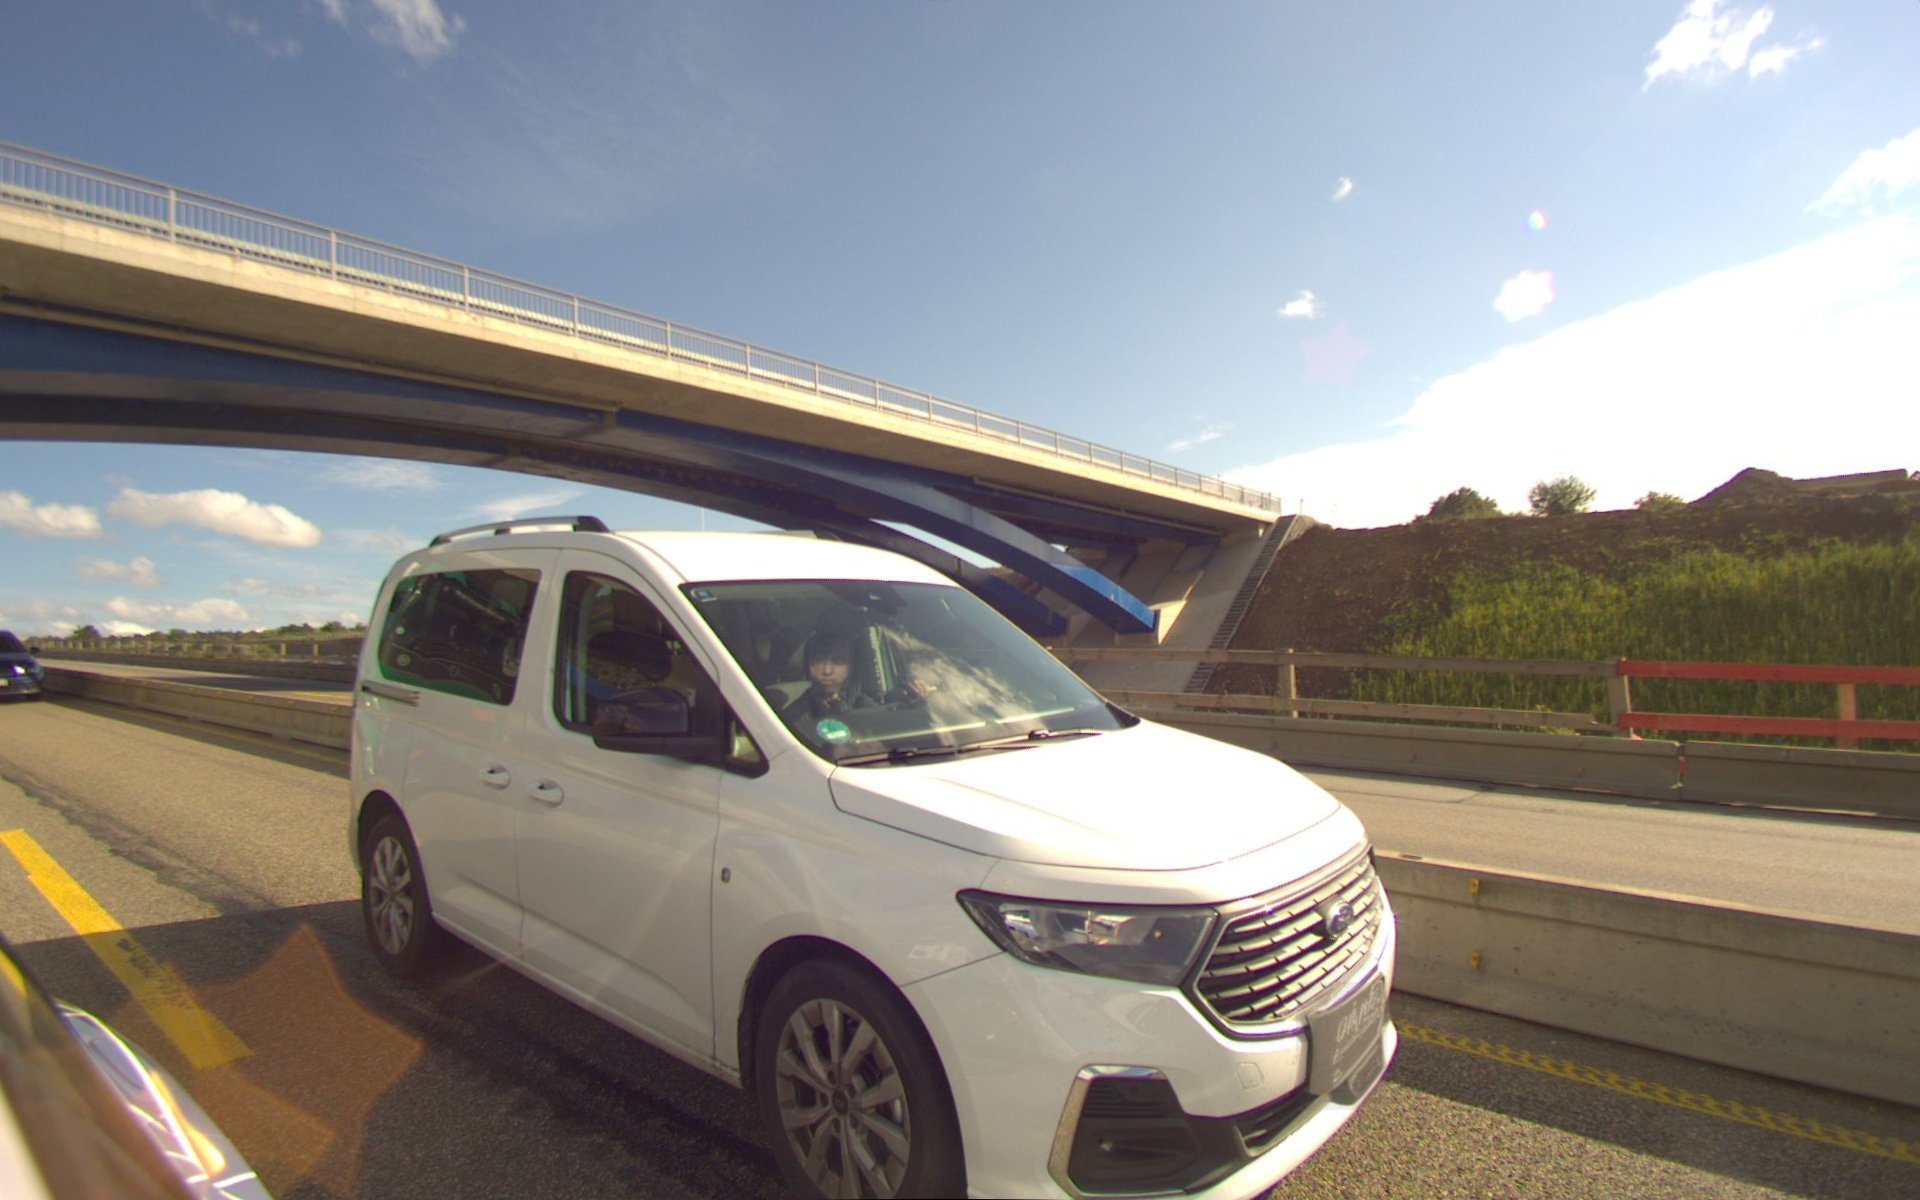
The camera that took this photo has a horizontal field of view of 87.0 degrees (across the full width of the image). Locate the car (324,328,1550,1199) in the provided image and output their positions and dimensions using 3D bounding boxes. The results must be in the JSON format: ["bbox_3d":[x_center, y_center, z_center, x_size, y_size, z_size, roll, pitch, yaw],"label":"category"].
[{"bbox_3d":[-0.571,0.542,3.733,4.454,1.837,1.804,-2,-1,41],"label":"car"}]

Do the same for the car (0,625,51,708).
[{"bbox_3d":[-19.357,1.281,19.930,3.998,1.519,1.697,-1,-1,41],"label":"car"}]
